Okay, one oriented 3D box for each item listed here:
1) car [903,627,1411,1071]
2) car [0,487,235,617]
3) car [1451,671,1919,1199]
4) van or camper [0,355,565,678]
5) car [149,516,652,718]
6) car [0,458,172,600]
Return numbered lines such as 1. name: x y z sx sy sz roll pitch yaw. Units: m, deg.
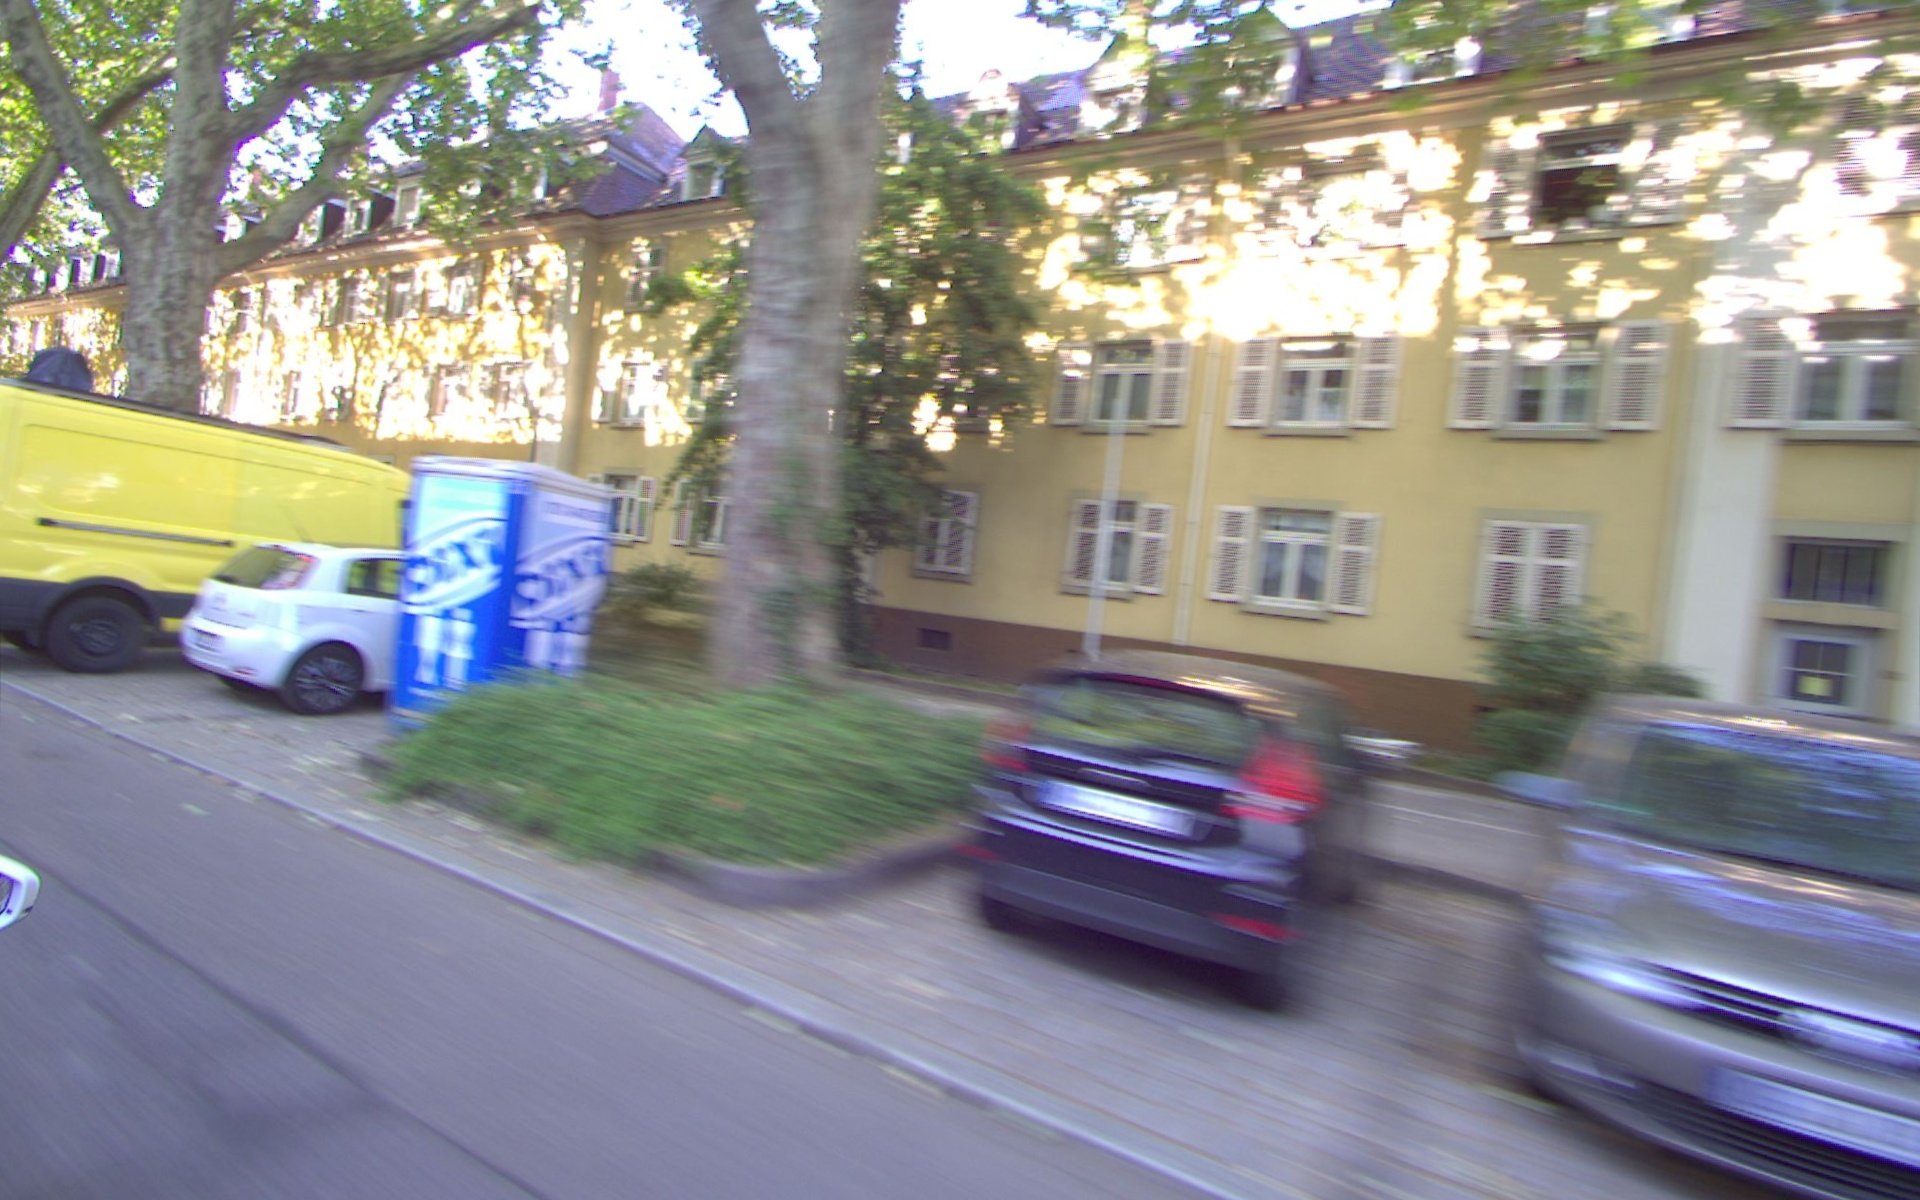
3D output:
1. car: 1.419 1.034 5.707 1.707 1.444 3.659 7 0 28
2. car: -13.103 -0.724 14.921 1.669 1.558 3.310 7 -1 30
3. car: 3.406 1.213 4.386 1.800 1.569 4.081 7 0 31
4. van or camper: -7.805 -0.632 11.229 2.234 2.661 5.931 6 -1 33
5. car: -5.332 0.252 10.088 1.833 1.507 3.910 7 -1 33
6. car: -15.927 -1.298 15.982 2.029 2.037 4.842 7 -1 31
